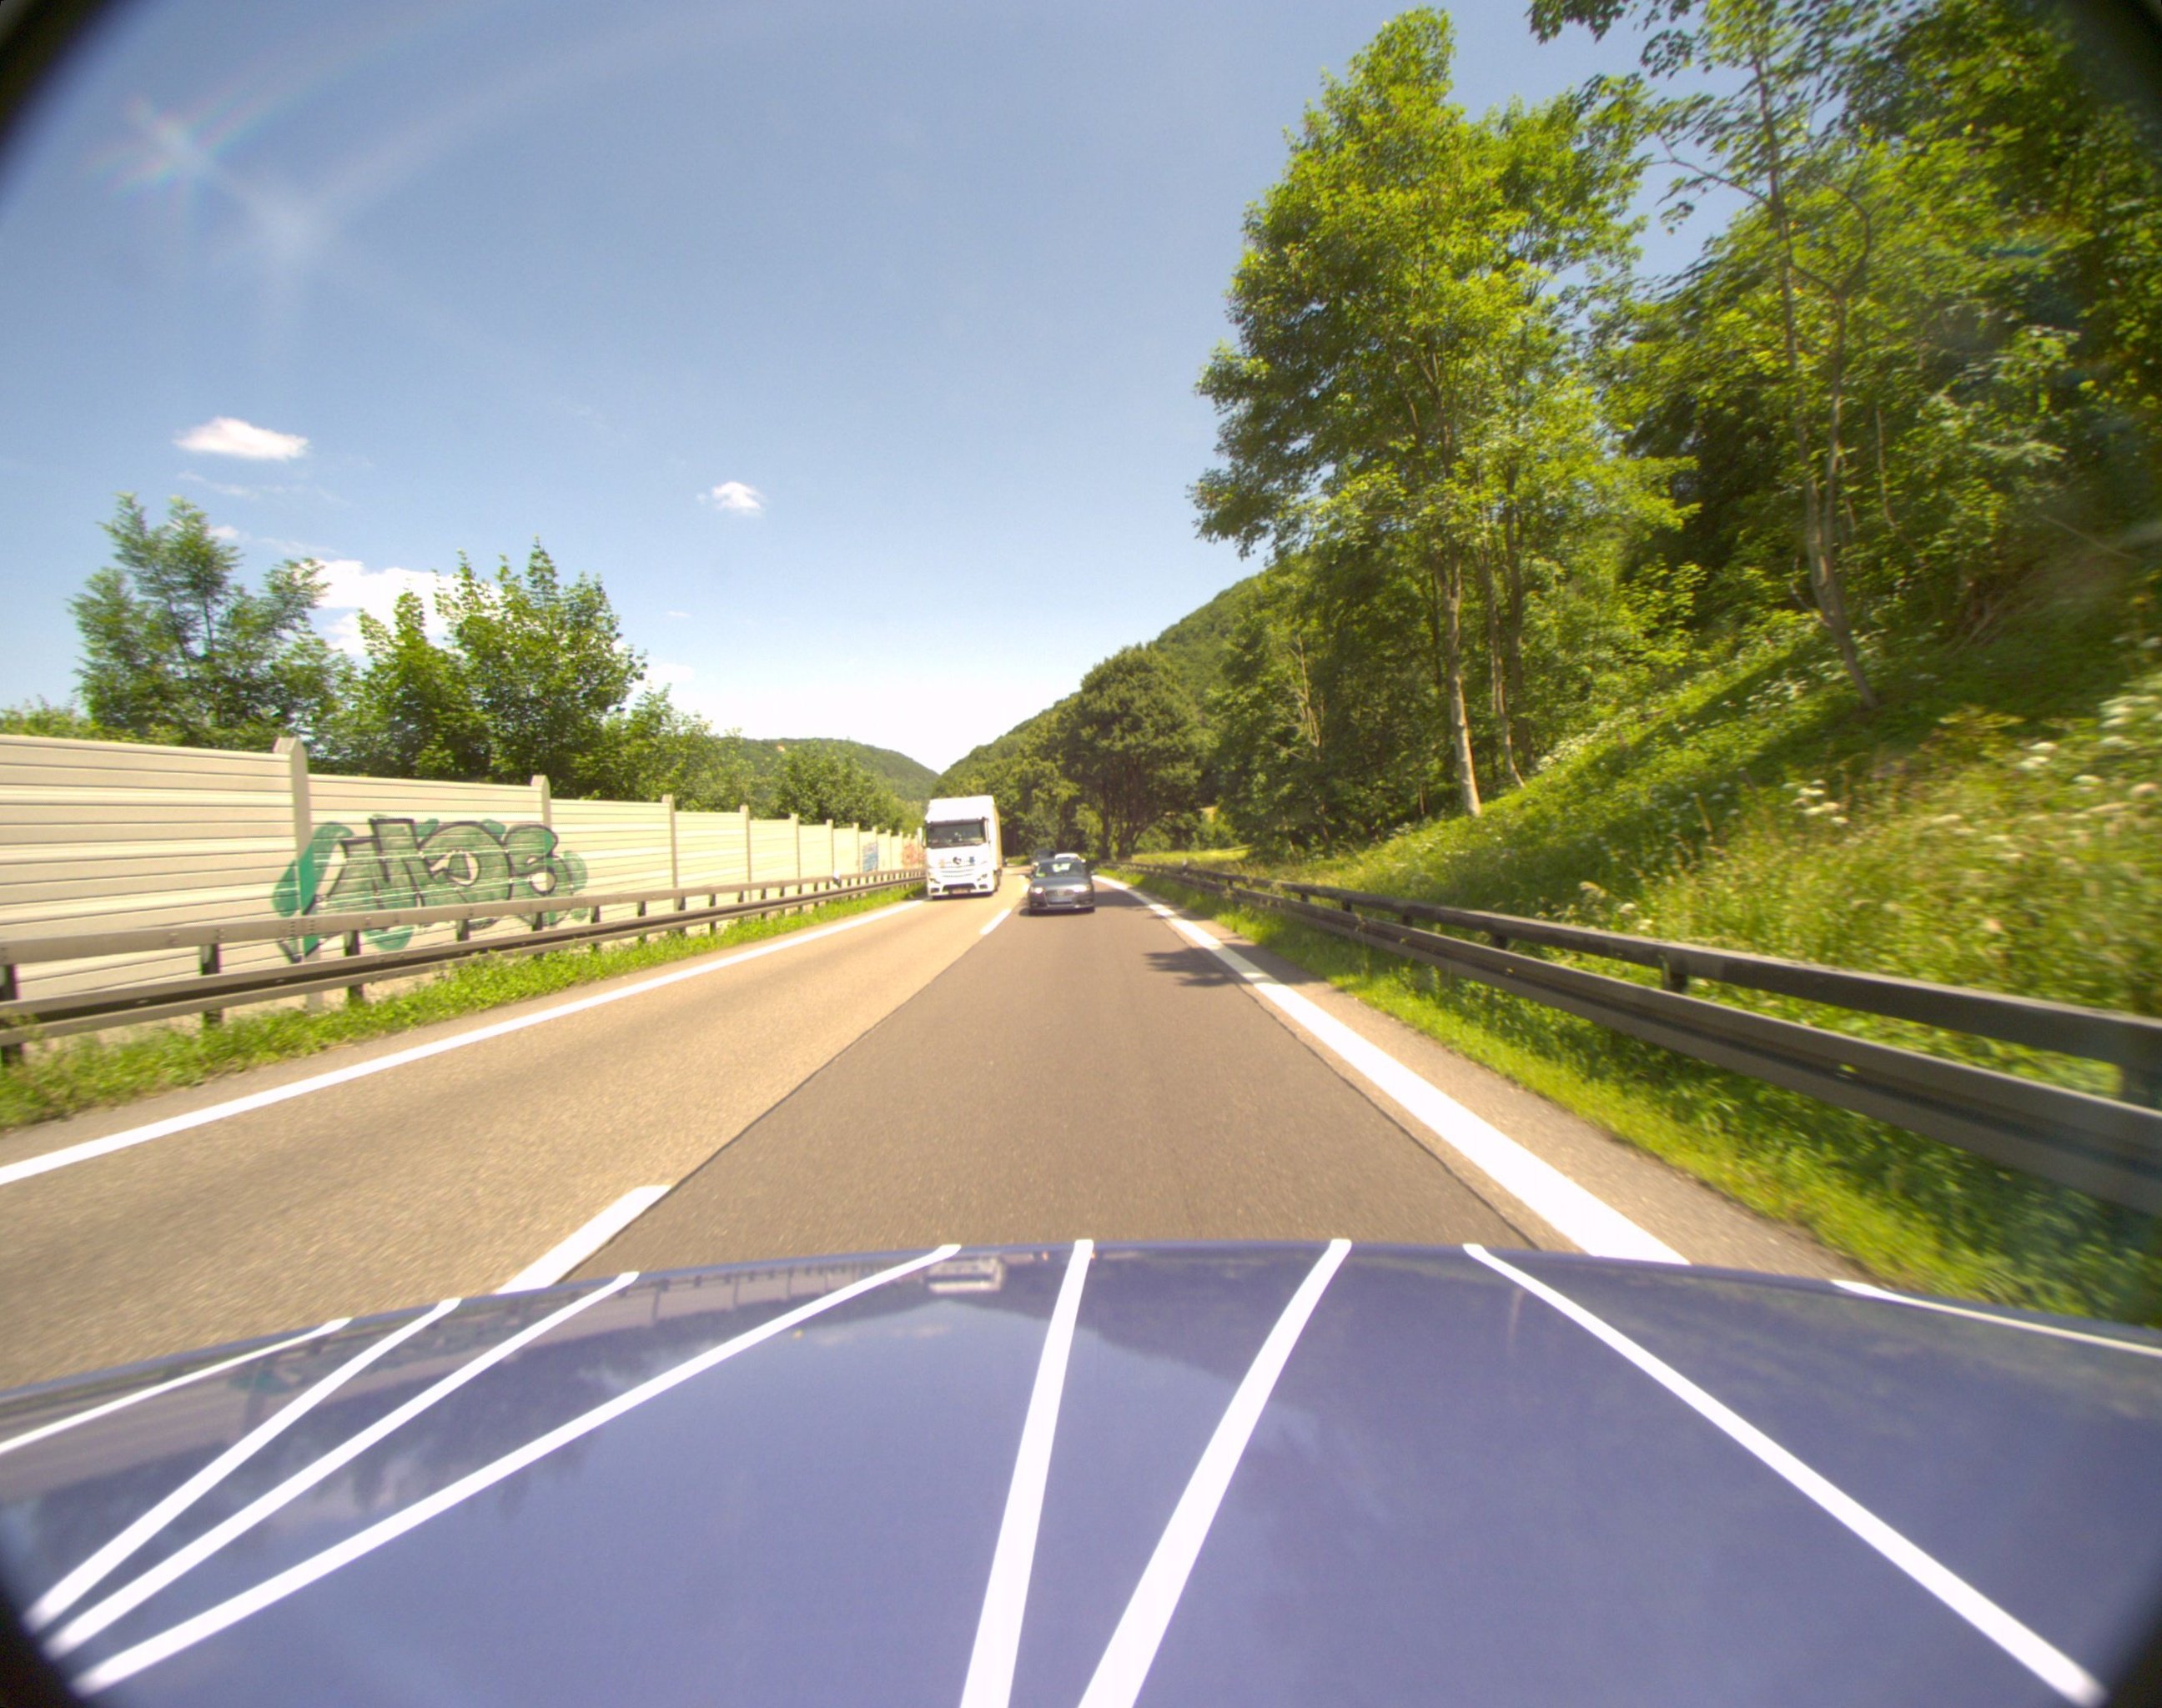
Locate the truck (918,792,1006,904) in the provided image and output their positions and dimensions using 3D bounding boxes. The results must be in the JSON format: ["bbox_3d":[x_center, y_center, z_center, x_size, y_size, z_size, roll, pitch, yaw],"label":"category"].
[{"bbox_3d":[-4.846,-0.303,32.157,2.765,4.016,6.819,-5,2,-4],"label":"truck"}]

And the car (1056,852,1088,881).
[{"bbox_3d":[-0.490,0.666,43.577,1.715,1.541,3.999,-2,1,0],"label":"car"}]

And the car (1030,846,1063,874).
[{"bbox_3d":[-2.579,0.447,56.284,2.045,1.855,3.998,-3,0,-7],"label":"car"}]

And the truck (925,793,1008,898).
[{"bbox_3d":[-5.248,-0.420,37.136,2.862,4.124,12.040,-3,1,-4],"label":"truck"}]

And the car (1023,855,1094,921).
[{"bbox_3d":[-0.562,0.824,20.069,1.662,1.436,3.474,-3,1,-1],"label":"car"}]
